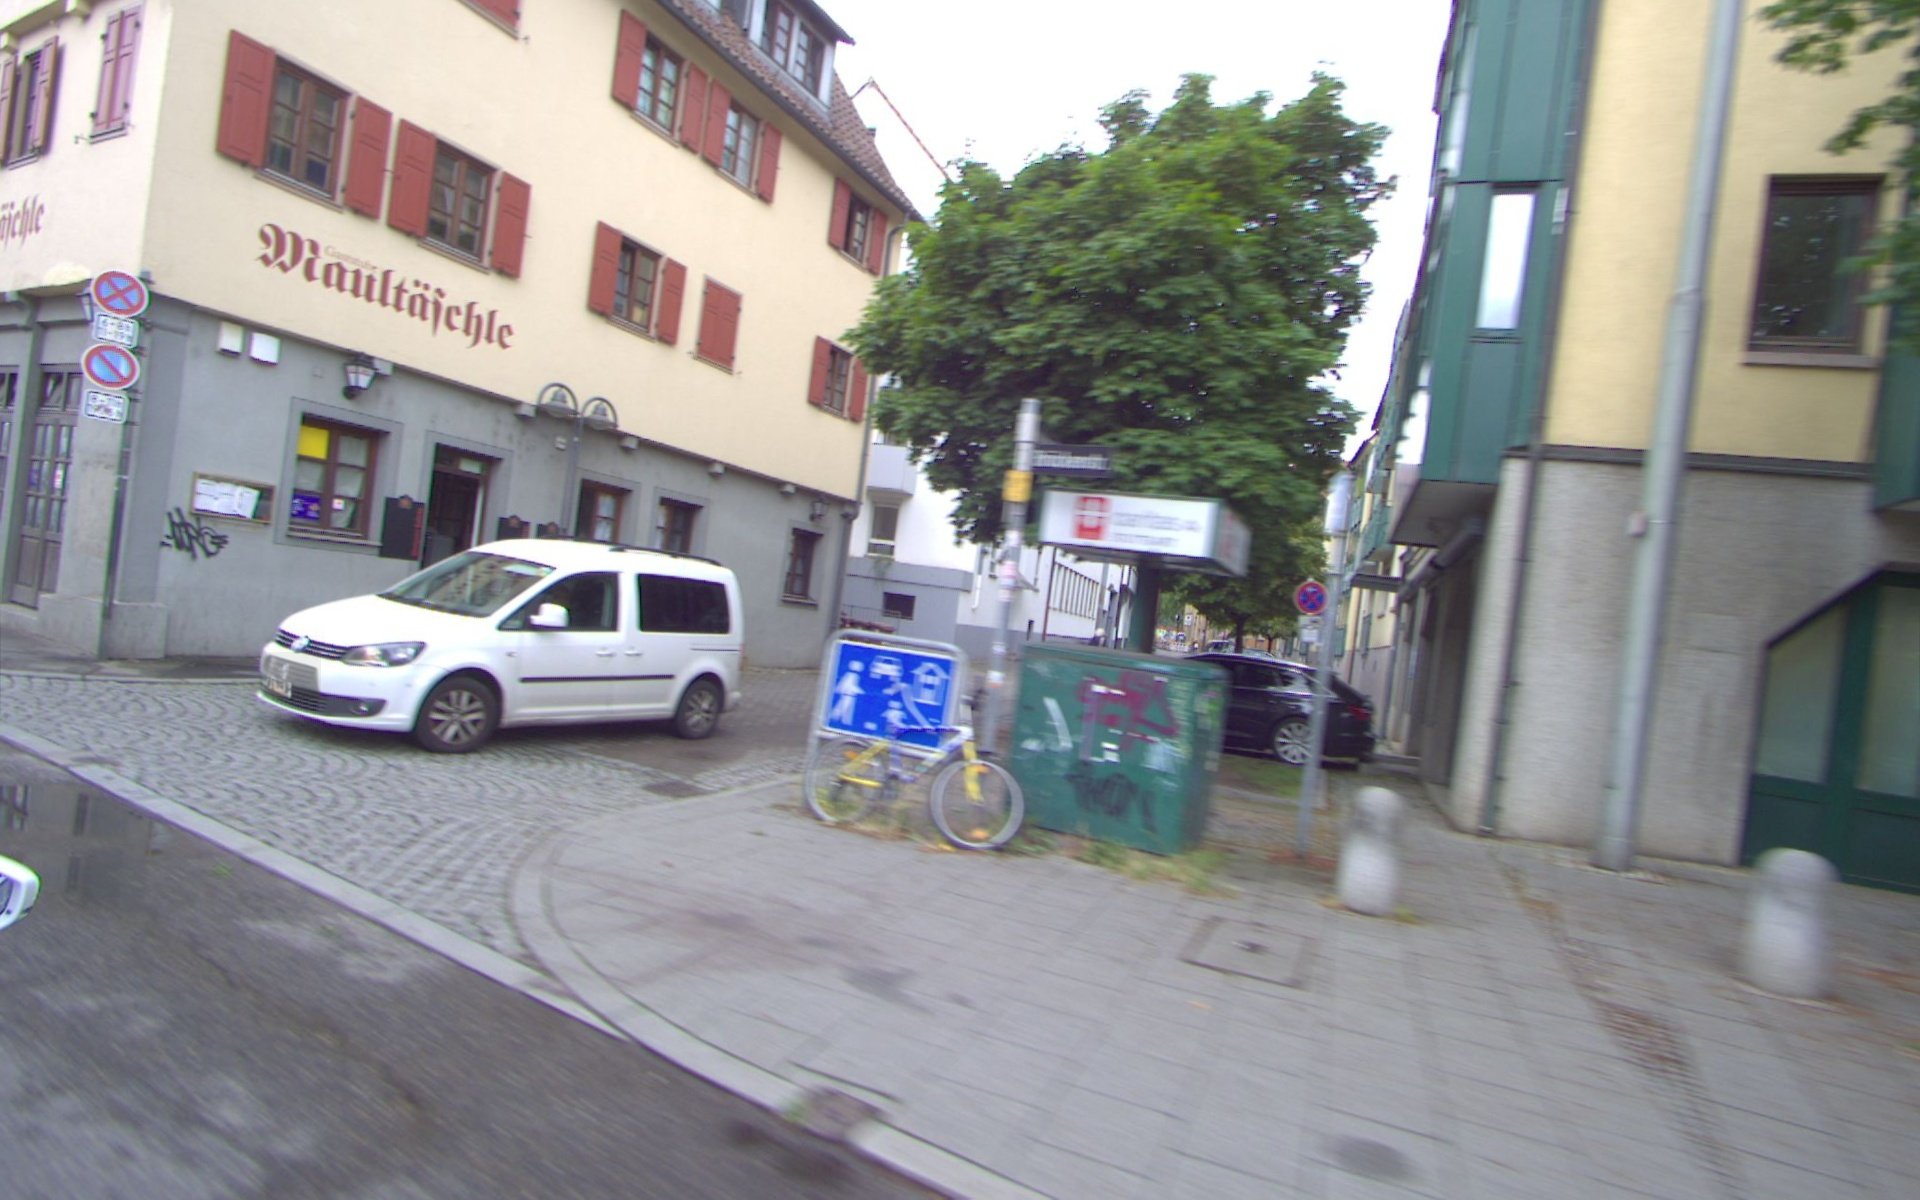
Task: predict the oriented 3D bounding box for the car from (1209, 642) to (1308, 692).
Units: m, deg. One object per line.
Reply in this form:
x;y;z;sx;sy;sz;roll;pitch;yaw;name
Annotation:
12.401;2.769;41.847;3.730;1.537;1.712;7;-1;19;car

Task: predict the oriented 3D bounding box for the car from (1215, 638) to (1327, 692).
11.788;2.459;38.338;3.729;1.537;1.713;7;-1;10;car

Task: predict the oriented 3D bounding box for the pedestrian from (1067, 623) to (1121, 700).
3.155;1.442;23.594;0.897;1.674;0.895;6;0;21;pedestrian

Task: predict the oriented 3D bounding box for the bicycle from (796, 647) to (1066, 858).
-0.181;0.969;6.653;1.607;1.120;0.501;6;0;12;bicycle

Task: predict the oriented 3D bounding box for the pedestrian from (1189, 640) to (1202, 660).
20.262;4.299;86.599;0.897;1.674;0.896;7;0;11;pedestrian

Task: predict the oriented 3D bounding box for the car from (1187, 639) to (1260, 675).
14.917;3.232;56.899;3.730;1.537;1.712;7;-1;19;car

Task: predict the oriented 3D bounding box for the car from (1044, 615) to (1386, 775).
3.736;1.332;14.981;4.511;1.641;1.849;7;-1;19;car

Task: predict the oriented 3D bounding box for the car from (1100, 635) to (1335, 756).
4.552;1.628;17.820;3.730;1.537;1.712;7;-1;19;car

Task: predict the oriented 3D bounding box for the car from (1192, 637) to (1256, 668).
17.057;3.369;64.984;3.730;1.537;1.712;7;-1;19;car

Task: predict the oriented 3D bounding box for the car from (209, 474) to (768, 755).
-3.926;0.211;9.234;1.816;1.819;4.252;9;0;28;car
